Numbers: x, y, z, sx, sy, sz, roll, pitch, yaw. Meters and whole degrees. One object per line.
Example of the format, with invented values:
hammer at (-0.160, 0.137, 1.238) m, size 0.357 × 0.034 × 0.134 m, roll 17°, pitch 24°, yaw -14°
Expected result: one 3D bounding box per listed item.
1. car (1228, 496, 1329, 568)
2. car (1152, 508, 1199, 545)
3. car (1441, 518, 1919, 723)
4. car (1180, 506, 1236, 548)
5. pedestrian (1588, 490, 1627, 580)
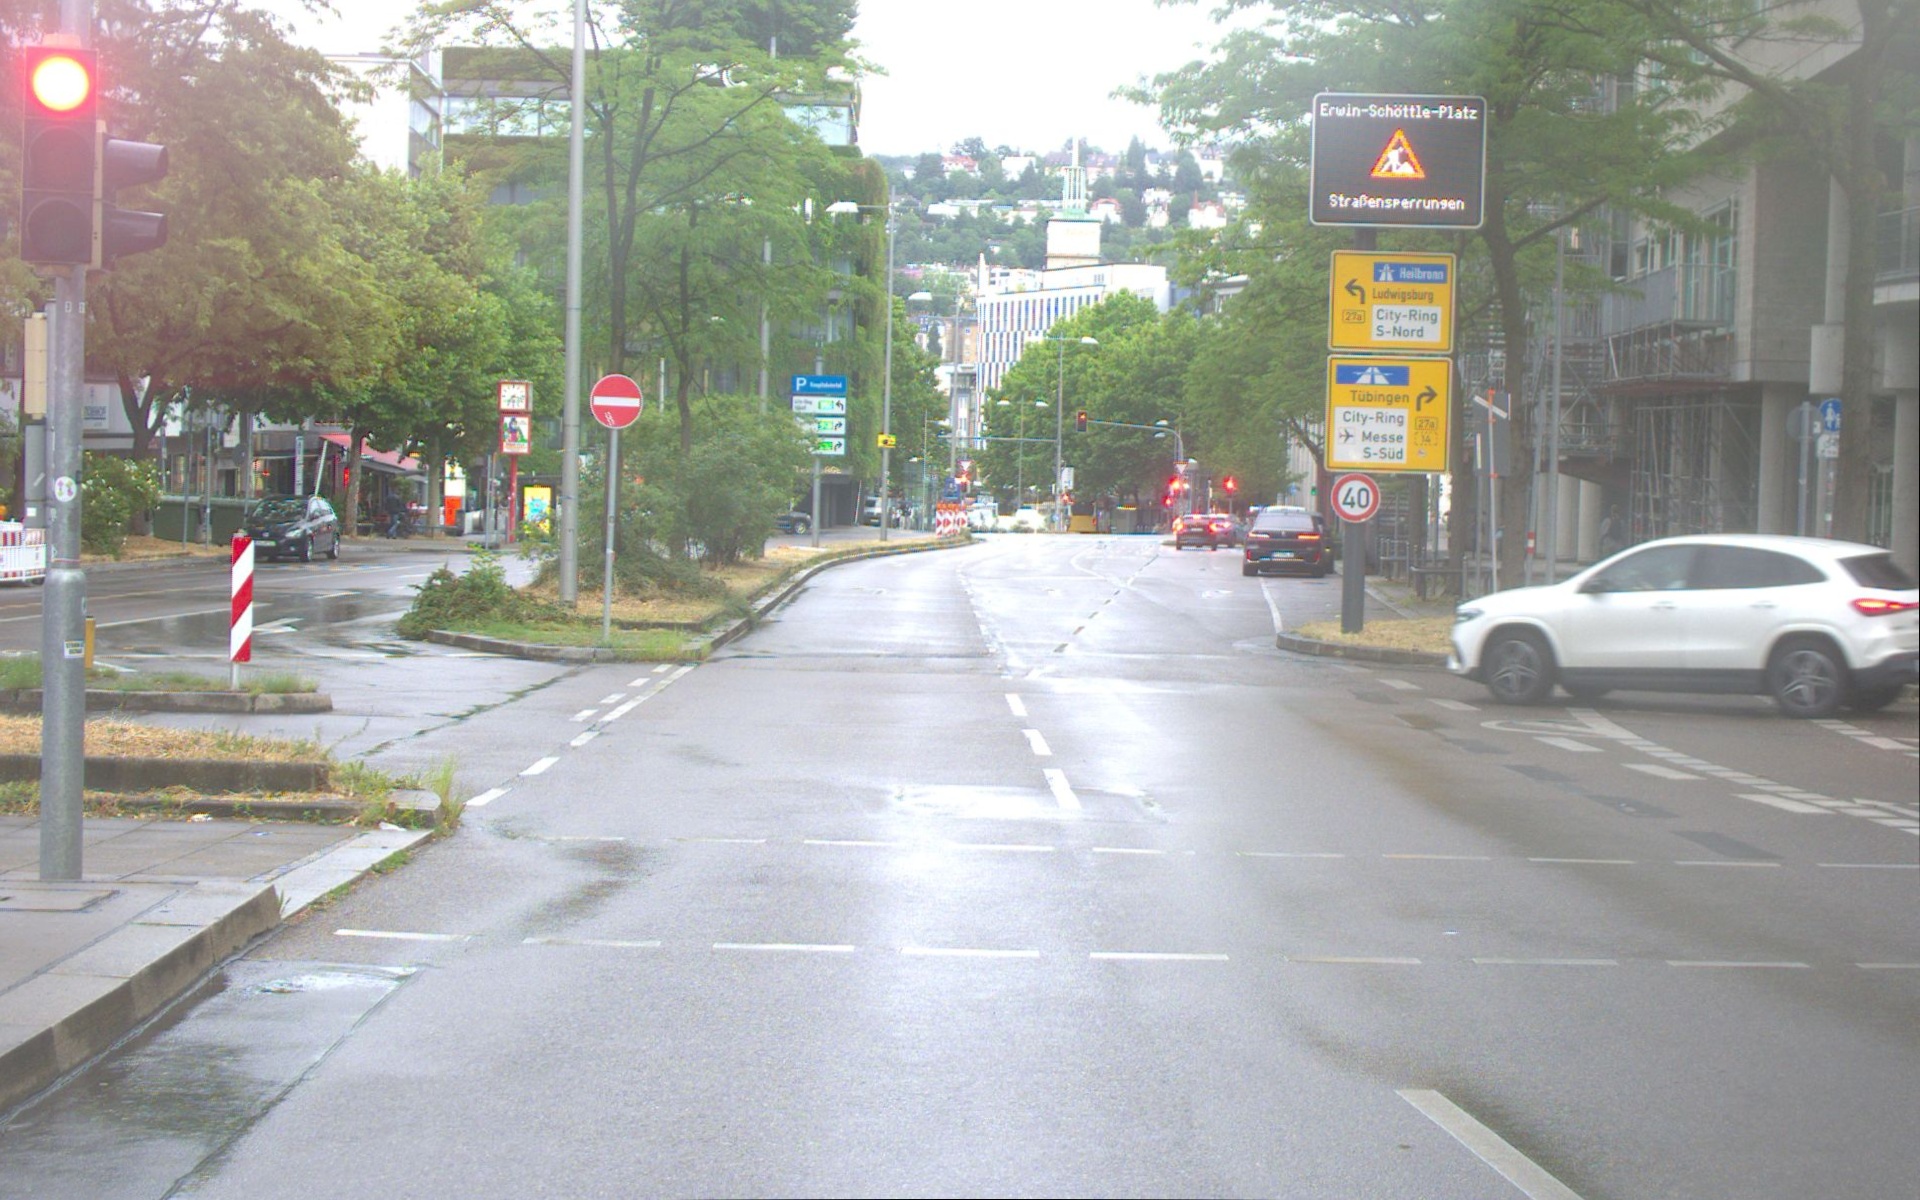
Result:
car at (7.749, -1.659, 83.429) m, size 2.339 × 1.685 × 3.999 m, roll 1°, pitch 2°, yaw 6°
car at (10.438, -3.542, 166.804) m, size 1.993 × 1.730 × 4.000 m, roll 1°, pitch 0°, yaw -1°
car at (6.780, 0.159, 31.443) m, size 4.294 × 1.634 × 1.831 m, roll 3°, pitch 1°, yaw 31°
car at (10.650, -3.127, 147.783) m, size 1.993 × 1.718 × 4.000 m, roll 1°, pitch 0°, yaw -1°
pedestrian at (13.907, -1.384, 73.831) m, size 0.775 × 1.914 × 0.702 m, roll 1°, pitch 0°, yaw 10°
